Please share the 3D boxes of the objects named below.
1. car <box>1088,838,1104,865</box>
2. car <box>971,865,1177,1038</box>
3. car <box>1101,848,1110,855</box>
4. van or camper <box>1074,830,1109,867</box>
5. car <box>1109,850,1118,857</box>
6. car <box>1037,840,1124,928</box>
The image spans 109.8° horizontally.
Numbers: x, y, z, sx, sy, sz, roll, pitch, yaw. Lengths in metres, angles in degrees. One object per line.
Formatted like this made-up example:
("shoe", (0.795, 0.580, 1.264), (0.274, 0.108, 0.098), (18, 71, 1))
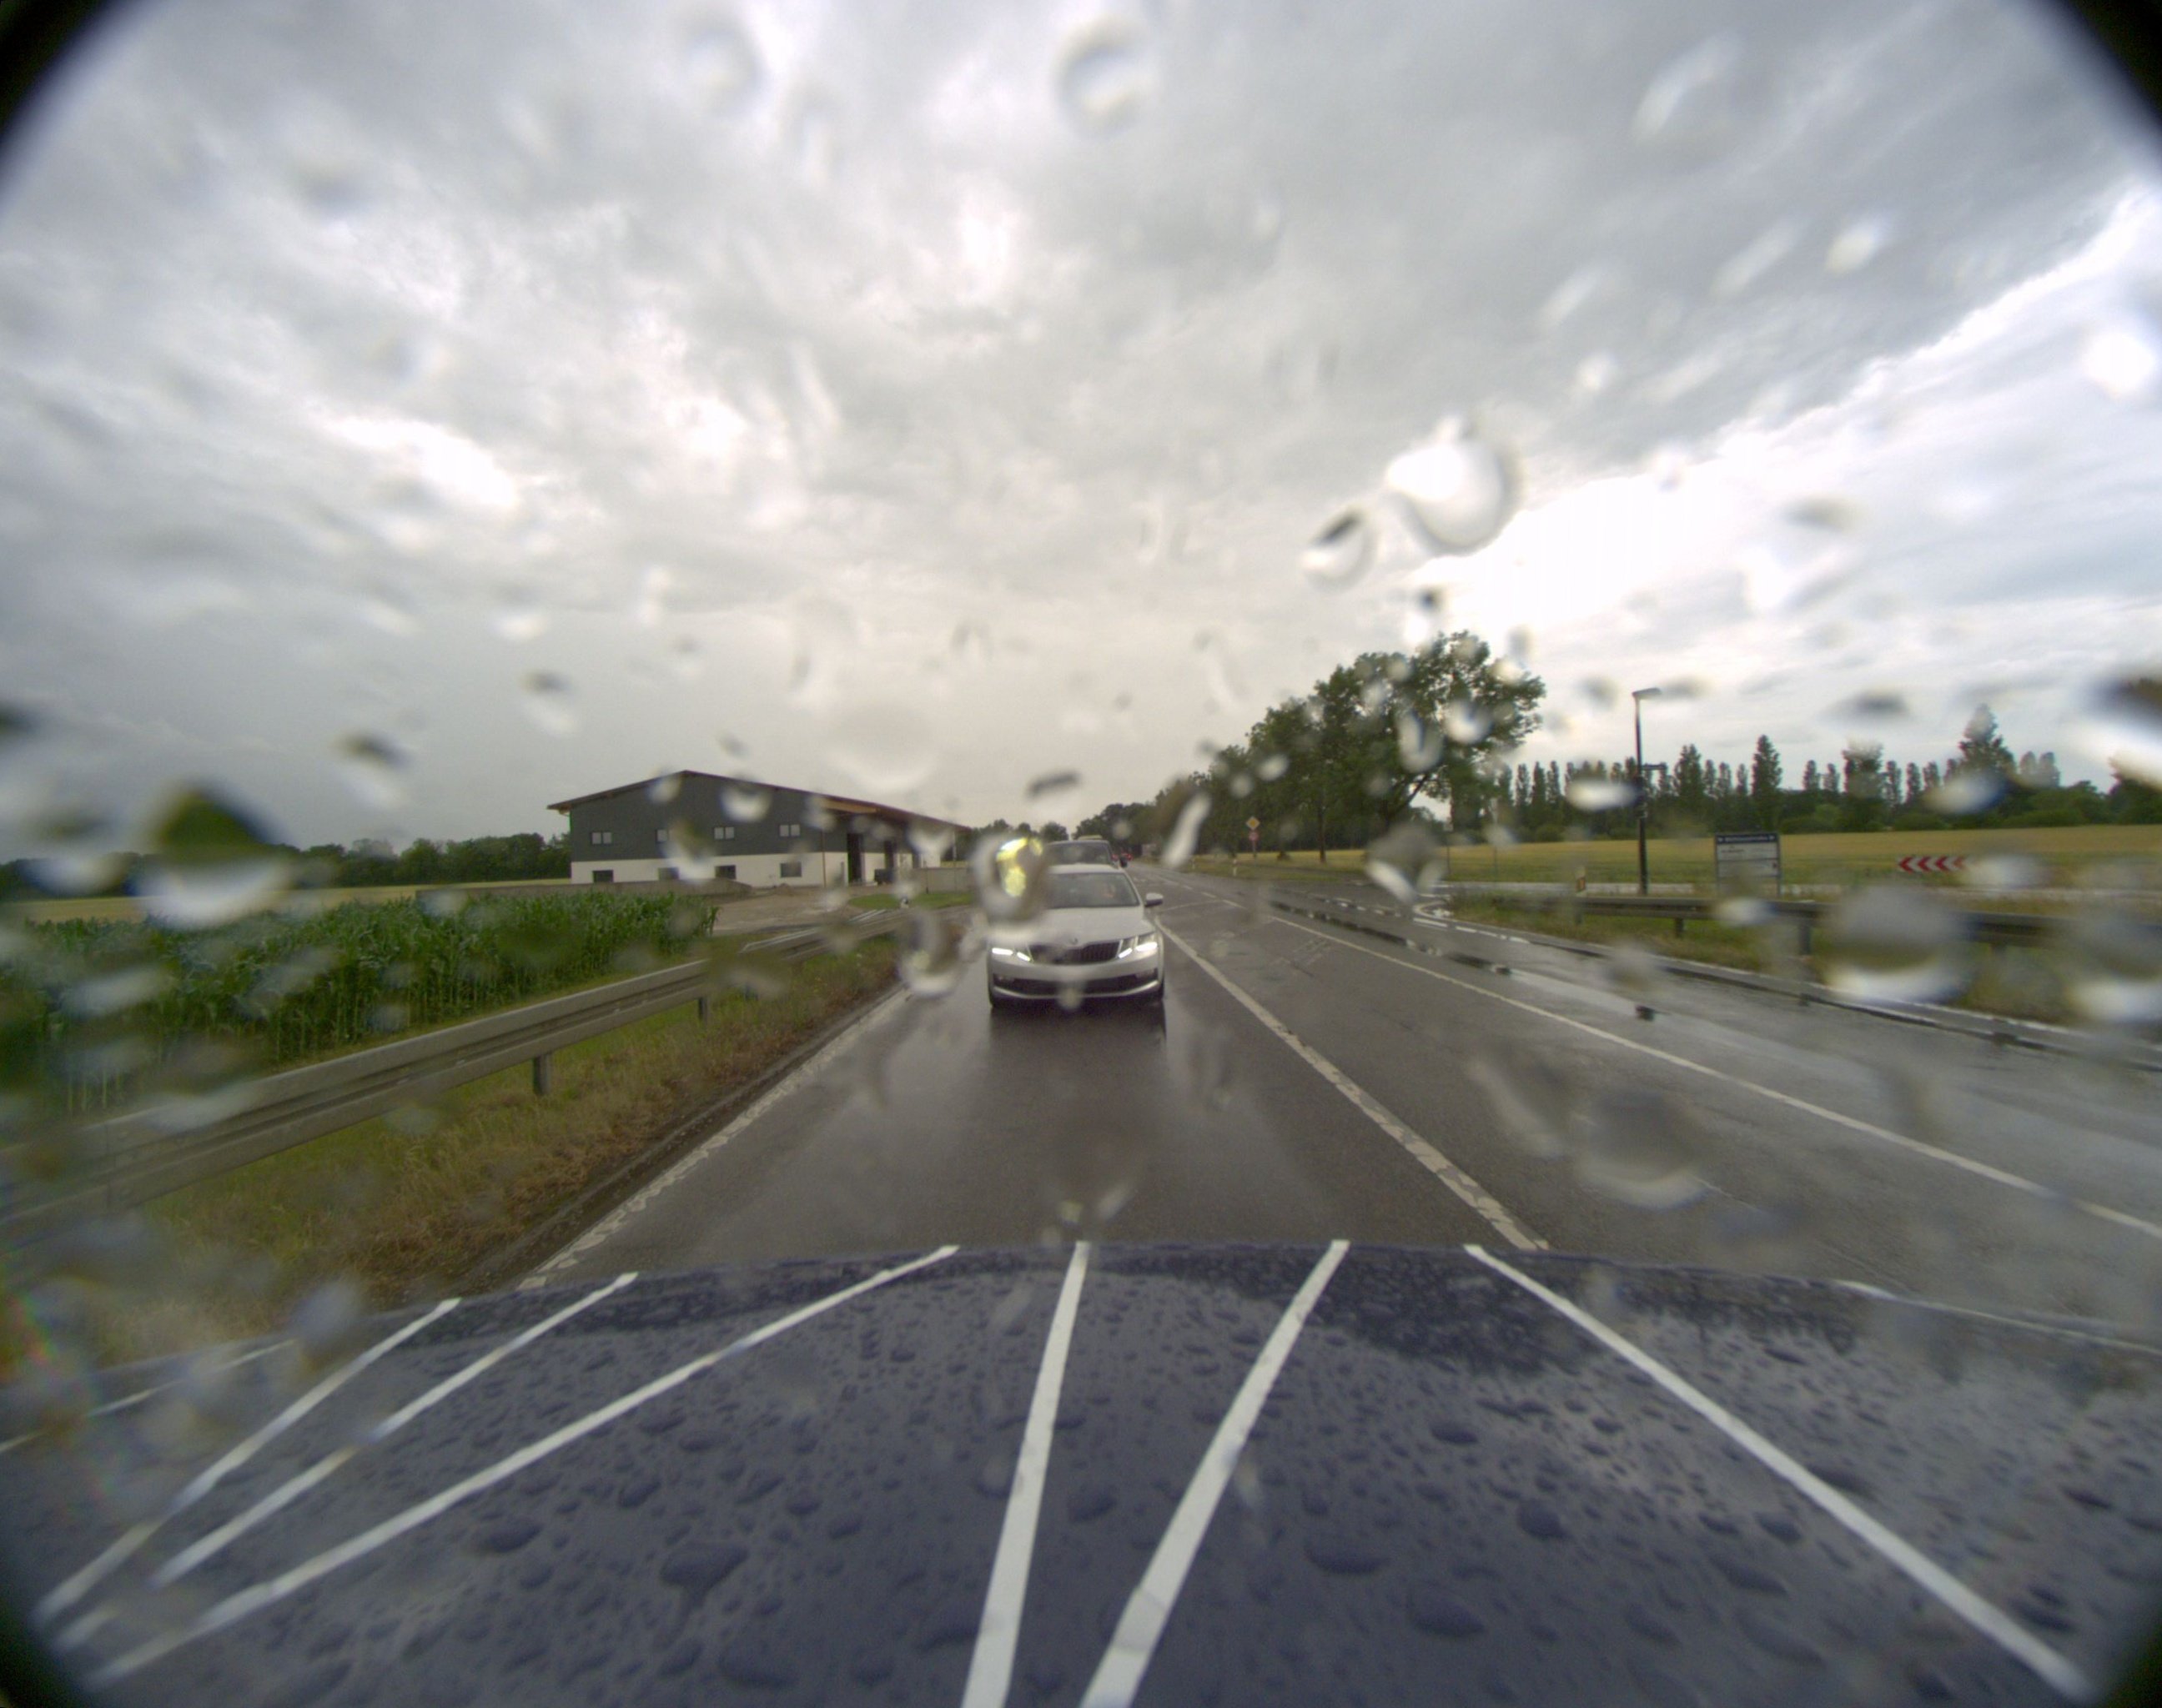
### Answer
("car", (1.793, -0.338, 91.556), (1.771, 3.134, 4.028), (-2, 0, 0))
("car", (-0.010, 0.897, 9.011), (1.770, 1.365, 4.575), (-2, 0, 1))
("car", (5.957, -0.617, 185.760), (1.949, 1.571, 4.443), (-2, 0, 1))
("van or camper", (1.110, -0.580, 79.651), (3.342, 3.624, 8.373), (-2, 0, 1))
("car", (6.742, -0.164, 157.883), (1.773, 1.514, 4.141), (-1, 0, 1))
("car", (0.038, 0.650, 19.083), (1.841, 1.888, 4.575), (-2, 0, 1))
